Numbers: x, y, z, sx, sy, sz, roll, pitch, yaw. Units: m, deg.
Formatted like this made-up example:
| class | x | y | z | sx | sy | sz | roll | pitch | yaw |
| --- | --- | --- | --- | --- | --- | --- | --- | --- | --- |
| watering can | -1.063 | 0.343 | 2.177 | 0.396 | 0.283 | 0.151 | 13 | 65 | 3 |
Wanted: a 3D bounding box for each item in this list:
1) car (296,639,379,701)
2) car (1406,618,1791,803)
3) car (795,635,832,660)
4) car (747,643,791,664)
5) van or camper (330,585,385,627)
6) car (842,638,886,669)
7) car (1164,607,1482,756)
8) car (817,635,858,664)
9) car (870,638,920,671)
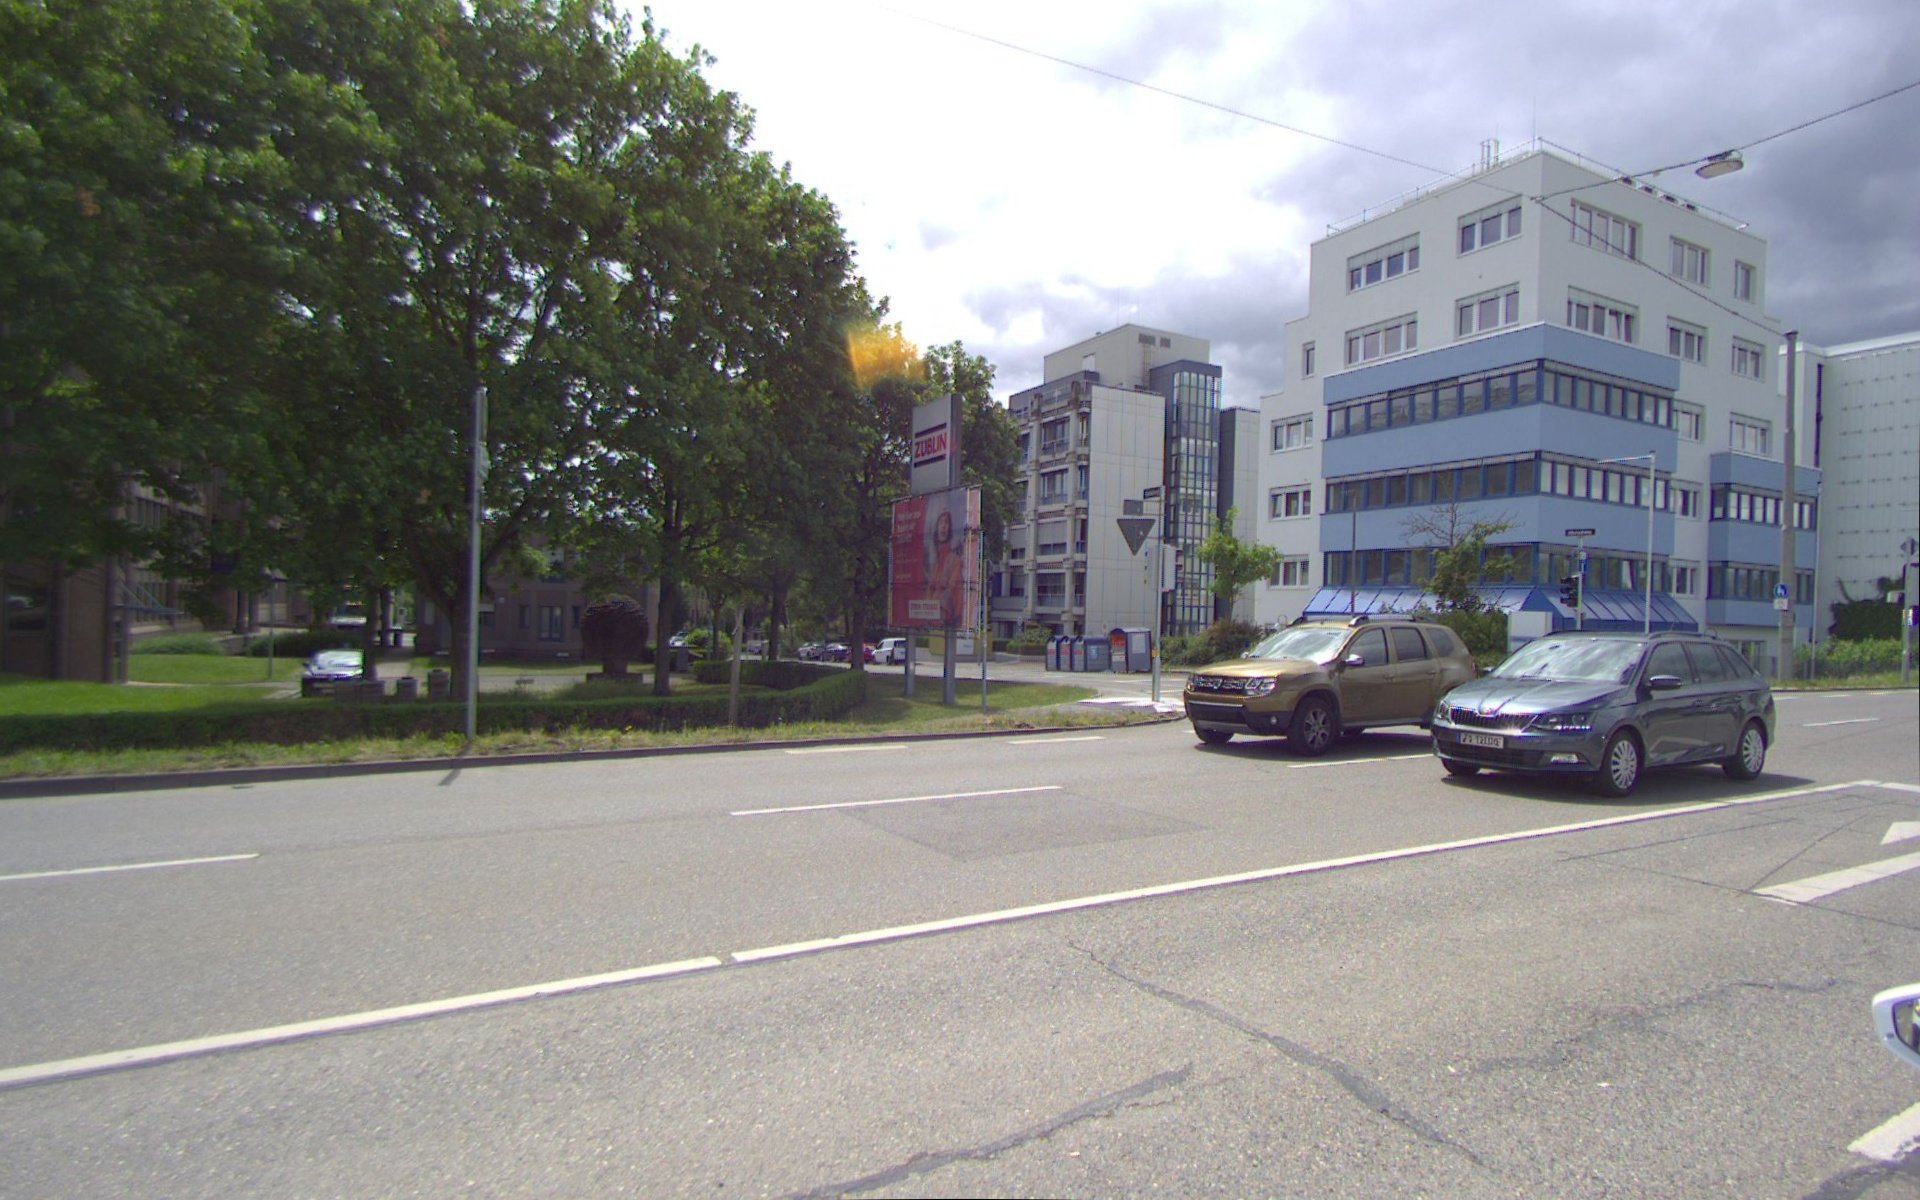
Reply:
| class | x | y | z | sx | sy | sz | roll | pitch | yaw |
| --- | --- | --- | --- | --- | --- | --- | --- | --- | --- |
| car | -19.461 | 2.156 | 31.545 | 1.763 | 1.750 | 3.974 | 2 | -2 | -26 |
| car | 6.526 | 0.976 | 10.182 | 3.961 | 1.544 | 1.661 | 0 | -2 | -30 |
| car | -12.110 | 3.896 | 82.732 | 1.875 | 1.919 | 3.973 | 2 | -1 | -26 |
| car | -19.387 | 5.464 | 101.981 | 3.955 | 1.946 | 1.983 | 3 | -1 | -31 |
| van or camper | -32.999 | 0.301 | 54.930 | 2.334 | 2.132 | 5.157 | 3 | -1 | -33 |
| car | -6.957 | 3.867 | 72.609 | 1.868 | 2.040 | 3.974 | 2 | -1 | -26 |
| car | 4.700 | 0.990 | 12.894 | 3.953 | 1.652 | 1.743 | 2 | -3 | -30 |
| car | -9.470 | 3.825 | 77.535 | 1.848 | 2.040 | 3.973 | 2 | -1 | -26 |
| car | -4.418 | 3.621 | 67.493 | 1.974 | 2.006 | 3.974 | 2 | -1 | -26 |
